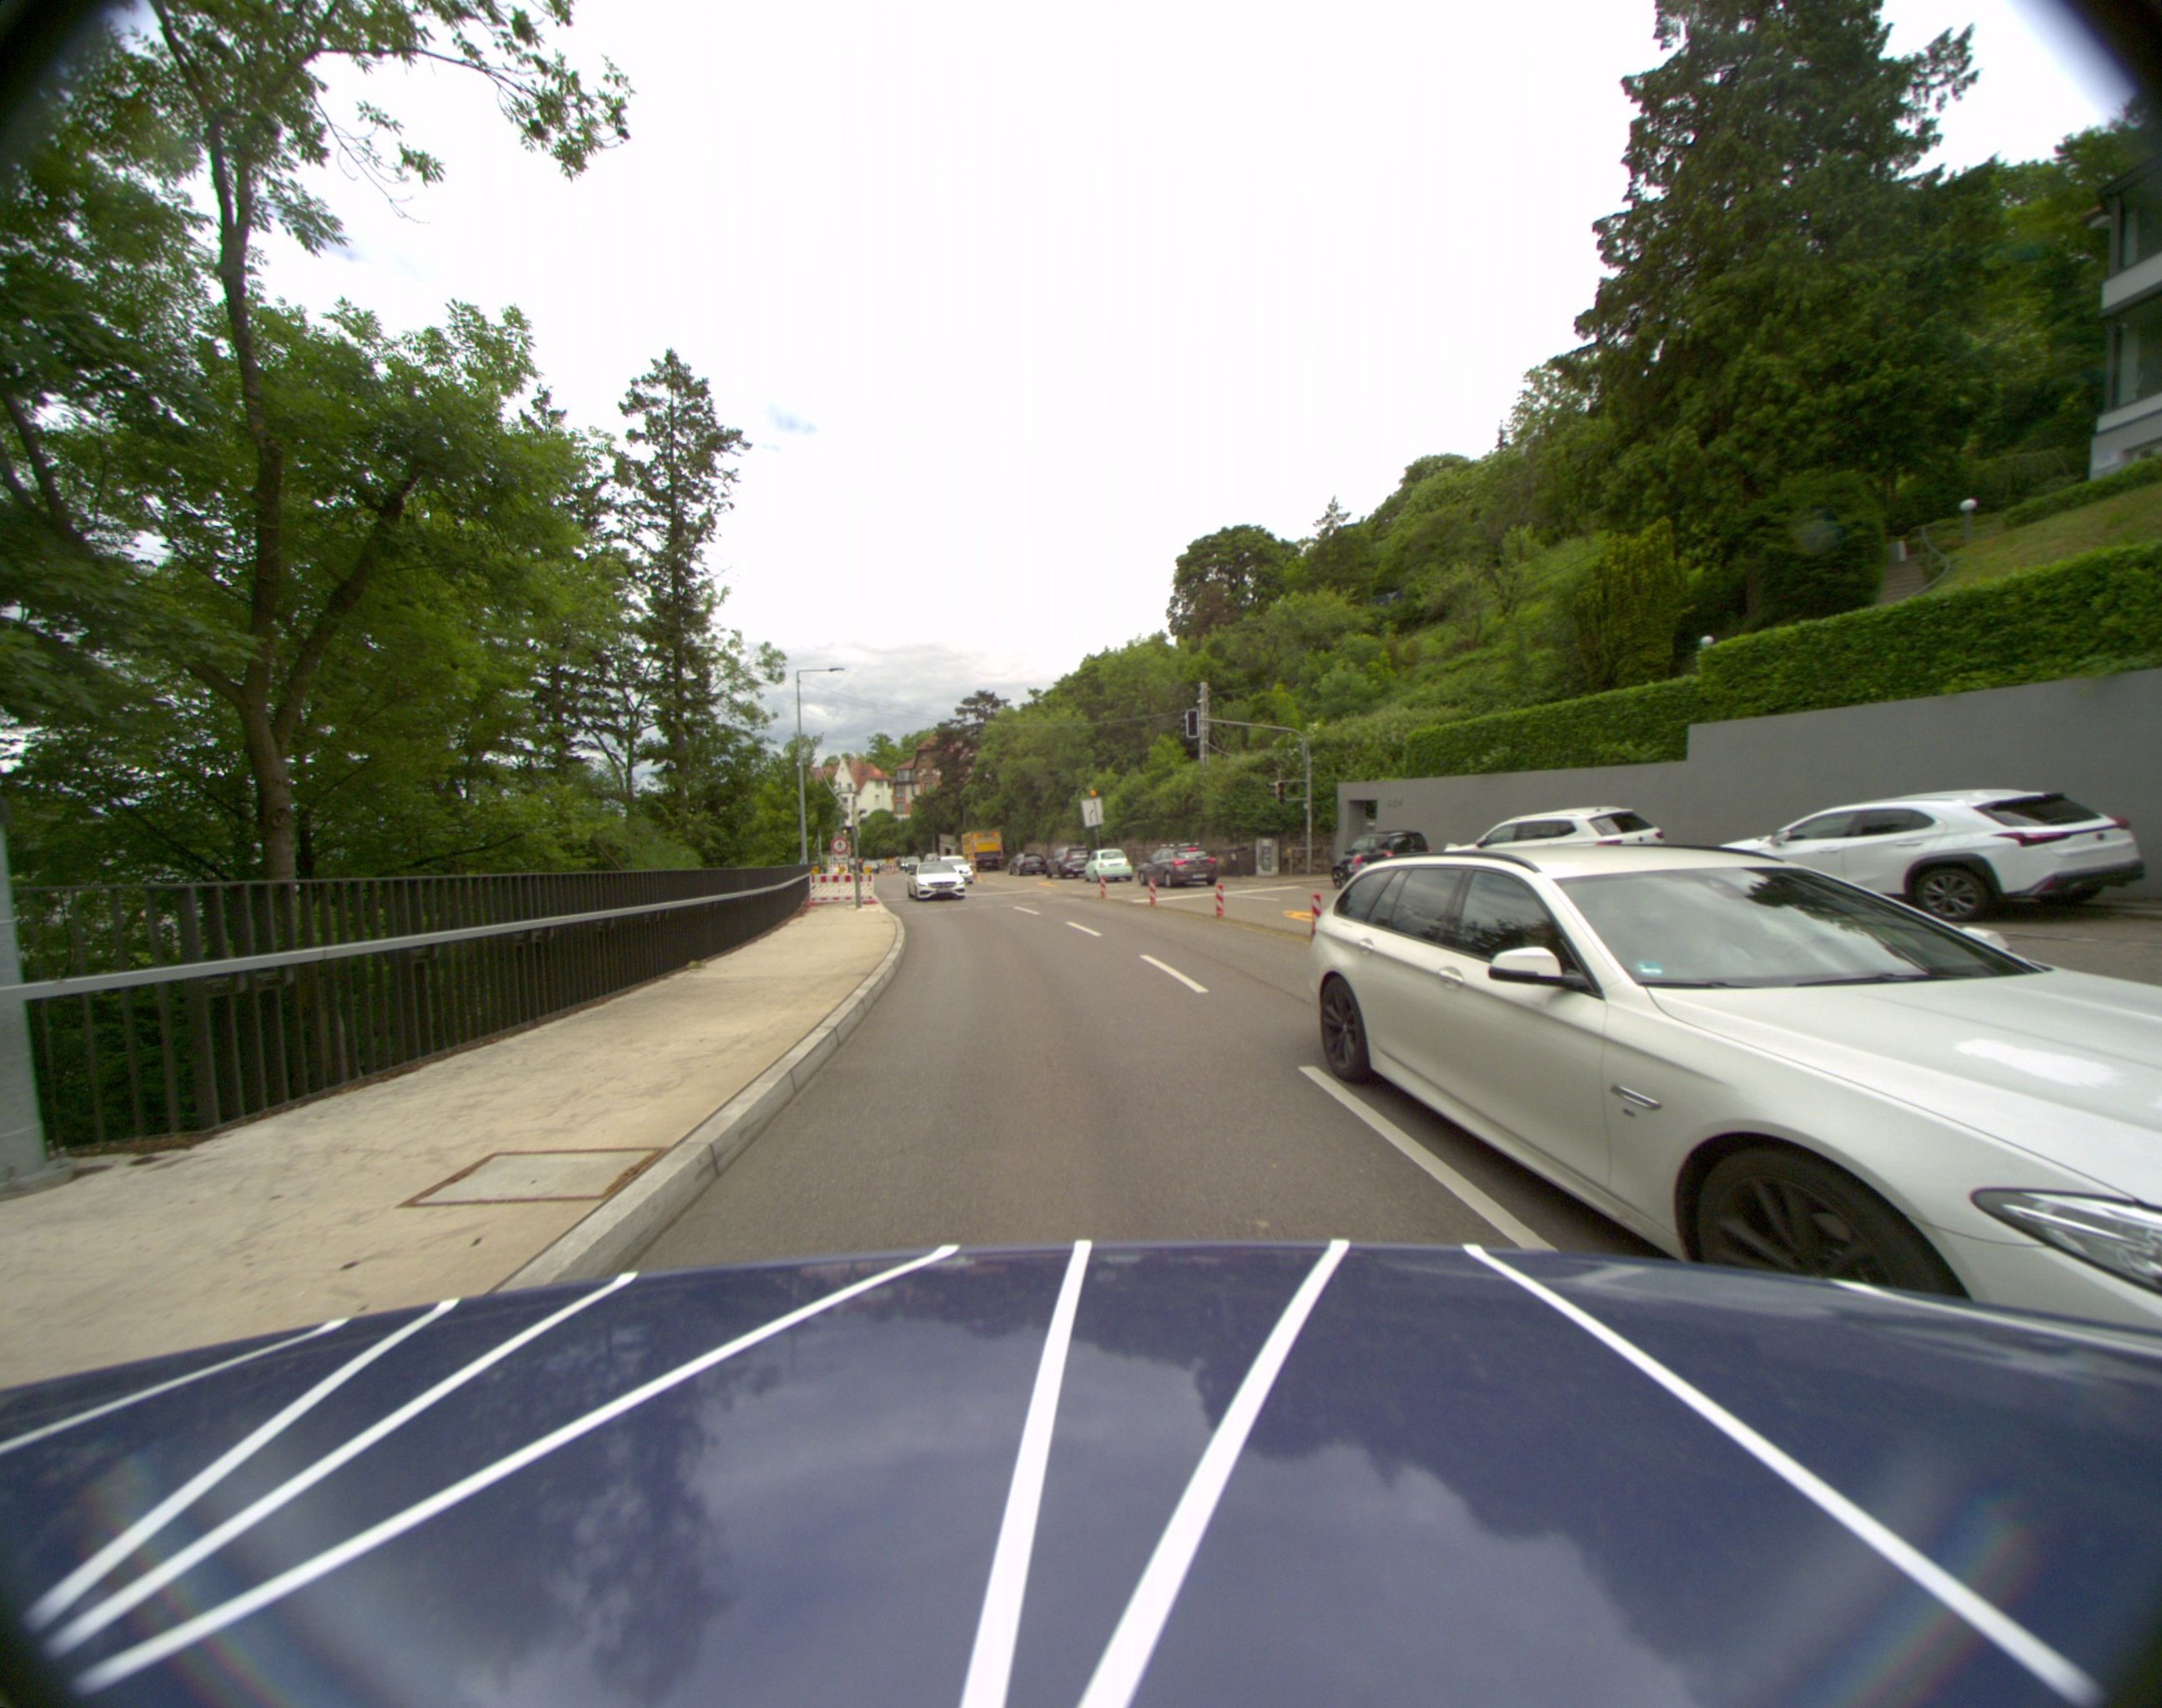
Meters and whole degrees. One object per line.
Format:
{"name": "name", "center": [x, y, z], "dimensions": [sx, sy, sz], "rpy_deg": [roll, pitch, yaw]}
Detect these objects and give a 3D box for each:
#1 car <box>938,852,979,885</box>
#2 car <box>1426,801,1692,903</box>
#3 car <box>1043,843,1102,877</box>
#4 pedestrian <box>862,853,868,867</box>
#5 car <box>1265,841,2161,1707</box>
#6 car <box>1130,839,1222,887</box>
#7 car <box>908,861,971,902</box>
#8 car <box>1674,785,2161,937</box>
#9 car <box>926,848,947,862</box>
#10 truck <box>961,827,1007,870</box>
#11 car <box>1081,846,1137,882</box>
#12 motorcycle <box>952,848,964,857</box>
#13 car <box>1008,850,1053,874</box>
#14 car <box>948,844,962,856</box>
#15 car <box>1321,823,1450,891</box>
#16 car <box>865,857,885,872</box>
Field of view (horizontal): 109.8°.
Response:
{"name": "car", "center": [-6.906, 0.777, 42.693], "dimensions": [1.887, 1.569, 3.995], "rpy_deg": [-4, 2, -13]}
{"name": "car", "center": [9.889, -0.058, 16.283], "dimensions": [1.865, 1.721, 4.754], "rpy_deg": [-5, 2, -15]}
{"name": "car", "center": [-0.544, 0.321, 41.952], "dimensions": [1.890, 1.687, 4.664], "rpy_deg": [-4, 1, -17]}
{"name": "pedestrian", "center": [-30.114, 0.827, 106.006], "dimensions": [0.641, 1.848, 0.833], "rpy_deg": [-1, 0, -29]}
{"name": "car", "center": [2.560, 0.742, 3.418], "dimensions": [1.853, 1.458, 4.875], "rpy_deg": [-4, 1, -5]}
{"name": "car", "center": [3.438, 0.296, 28.345], "dimensions": [1.718, 1.589, 4.200], "rpy_deg": [-4, 2, -18]}
{"name": "car", "center": [-5.505, 0.991, 29.182], "dimensions": [1.800, 1.299, 4.094], "rpy_deg": [-3, 1, -18]}
{"name": "car", "center": [11.140, 0.025, 10.586], "dimensions": [1.838, 1.564, 4.471], "rpy_deg": [-4, 2, -8]}
{"name": "car", "center": [-19.782, 0.122, 103.571], "dimensions": [1.810, 1.780, 4.333], "rpy_deg": [-5, 2, -23]}
{"name": "truck", "center": [-8.773, -0.514, 68.166], "dimensions": [2.741, 3.490, 7.338], "rpy_deg": [-3, 1, -17]}
{"name": "car", "center": [1.231, 0.443, 35.095], "dimensions": [1.717, 1.458, 3.657], "rpy_deg": [-4, 1, -10]}
{"name": "motorcycle", "center": [-19.467, -0.285, 120.321], "dimensions": [1.845, 1.177, 0.635], "rpy_deg": [-4, 6, -14]}
{"name": "car", "center": [-3.440, 0.498, 51.291], "dimensions": [1.817, 1.421, 4.867], "rpy_deg": [-4, 1, -18]}
{"name": "car", "center": [-20.349, -0.641, 122.343], "dimensions": [1.574, 1.597, 3.579], "rpy_deg": [-5, 6, -18]}
{"name": "car", "center": [8.310, 0.093, 20.975], "dimensions": [1.717, 1.564, 2.954], "rpy_deg": [-6, 1, -17]}
{"name": "car", "center": [-22.580, 1.113, 83.240], "dimensions": [1.847, 1.447, 4.620], "rpy_deg": [-4, 1, -17]}
